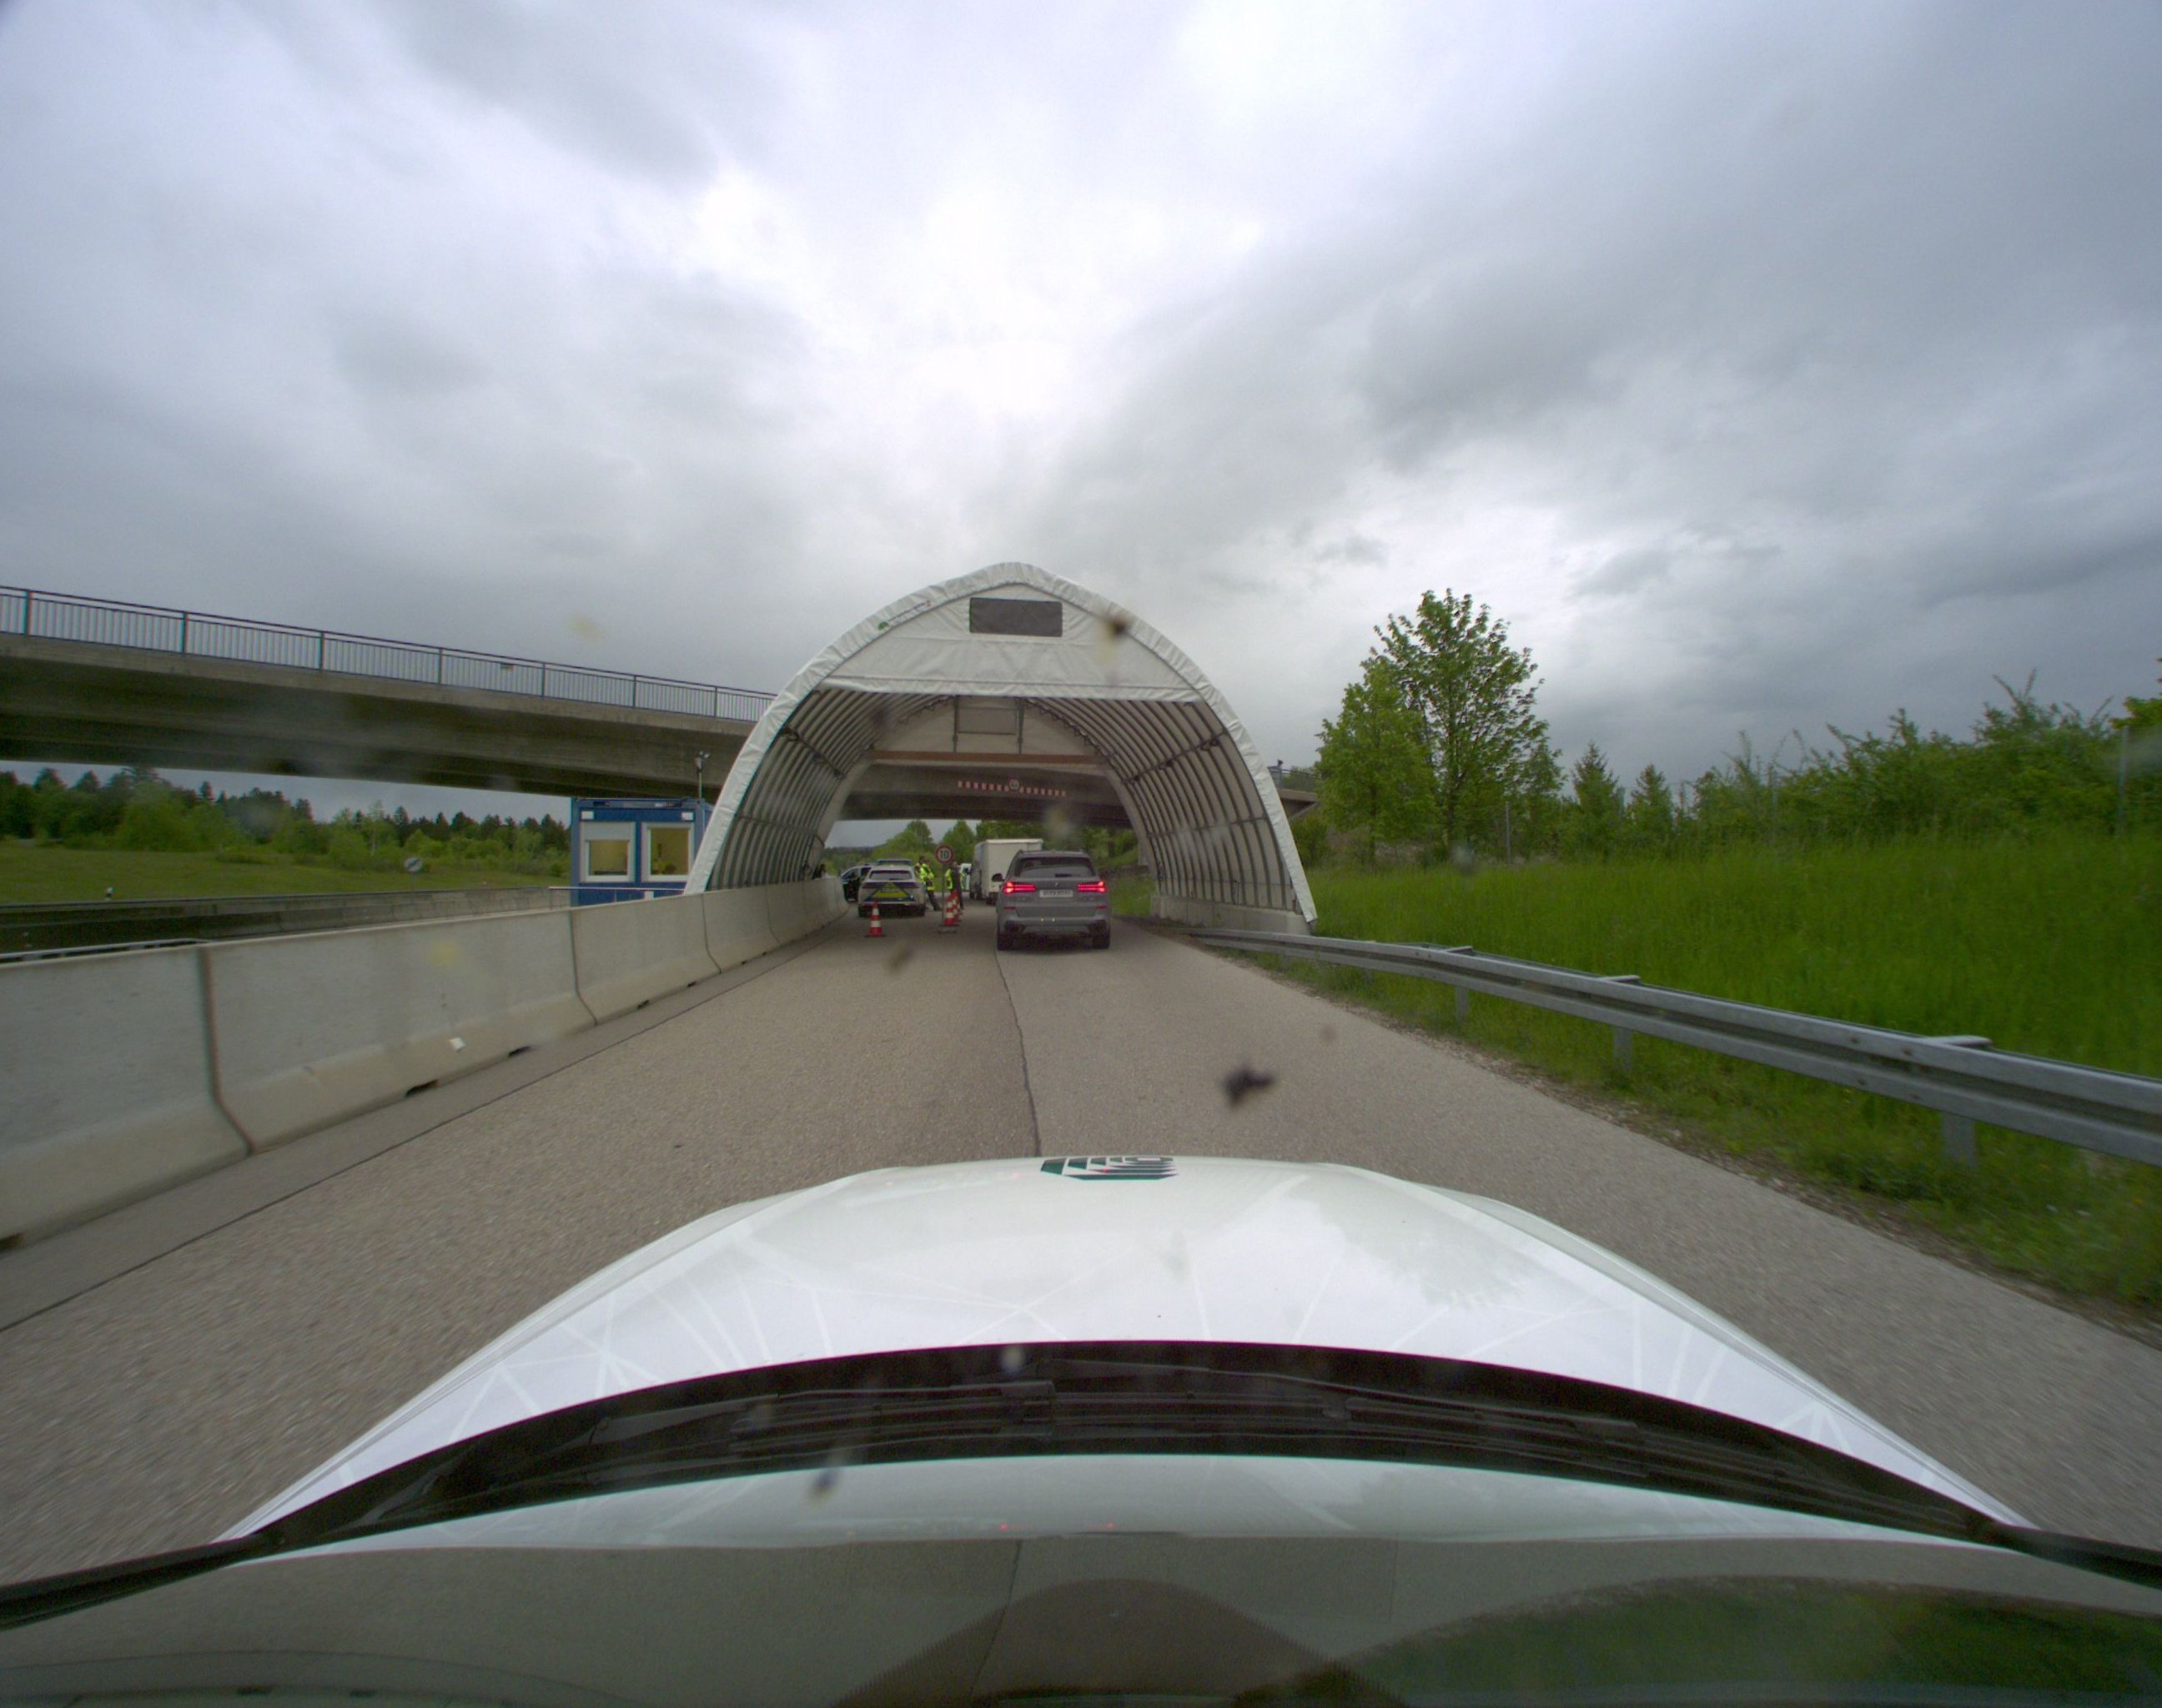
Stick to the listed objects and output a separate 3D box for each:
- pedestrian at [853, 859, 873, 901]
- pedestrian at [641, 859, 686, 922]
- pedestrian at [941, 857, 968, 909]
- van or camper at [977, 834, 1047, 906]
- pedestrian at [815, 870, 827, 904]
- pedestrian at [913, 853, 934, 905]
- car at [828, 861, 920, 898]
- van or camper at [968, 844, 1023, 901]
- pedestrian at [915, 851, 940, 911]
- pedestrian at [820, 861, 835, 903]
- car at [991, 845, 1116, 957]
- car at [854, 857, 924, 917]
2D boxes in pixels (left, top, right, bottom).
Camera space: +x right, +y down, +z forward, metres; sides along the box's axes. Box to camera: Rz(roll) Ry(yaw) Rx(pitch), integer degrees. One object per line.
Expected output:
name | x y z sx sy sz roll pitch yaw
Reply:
pedestrian | -10.459 1.245 39.071 0.698 2.014 0.692 -1 -1 1
pedestrian | -9.280 0.798 18.109 0.606 1.373 0.629 -2 -1 10
pedestrian | -4.323 0.988 27.771 0.781 1.722 0.752 -1 -1 -17
van or camper | -2.919 0.642 33.039 2.230 2.552 6.588 -1 -1 -10
pedestrian | -12.070 1.525 37.851 0.503 1.546 0.460 -1 -1 -18
pedestrian | -5.421 0.864 28.042 0.607 1.754 0.665 -1 -1 -4
car | -12.005 1.473 47.314 4.777 2.014 1.846 -1 -1 9
van or camper | -4.189 0.853 39.199 2.105 2.519 5.528 -1 -1 -12
pedestrian | -5.096 0.881 26.995 0.750 1.919 0.759 -1 -1 -13
pedestrian | -12.435 1.367 40.006 0.625 2.014 0.653 -1 -1 -14
car | -0.657 0.791 15.298 1.991 1.765 3.990 -1 -1 -7
car | -5.796 0.956 24.825 1.879 1.647 3.983 -1 -1 -12
